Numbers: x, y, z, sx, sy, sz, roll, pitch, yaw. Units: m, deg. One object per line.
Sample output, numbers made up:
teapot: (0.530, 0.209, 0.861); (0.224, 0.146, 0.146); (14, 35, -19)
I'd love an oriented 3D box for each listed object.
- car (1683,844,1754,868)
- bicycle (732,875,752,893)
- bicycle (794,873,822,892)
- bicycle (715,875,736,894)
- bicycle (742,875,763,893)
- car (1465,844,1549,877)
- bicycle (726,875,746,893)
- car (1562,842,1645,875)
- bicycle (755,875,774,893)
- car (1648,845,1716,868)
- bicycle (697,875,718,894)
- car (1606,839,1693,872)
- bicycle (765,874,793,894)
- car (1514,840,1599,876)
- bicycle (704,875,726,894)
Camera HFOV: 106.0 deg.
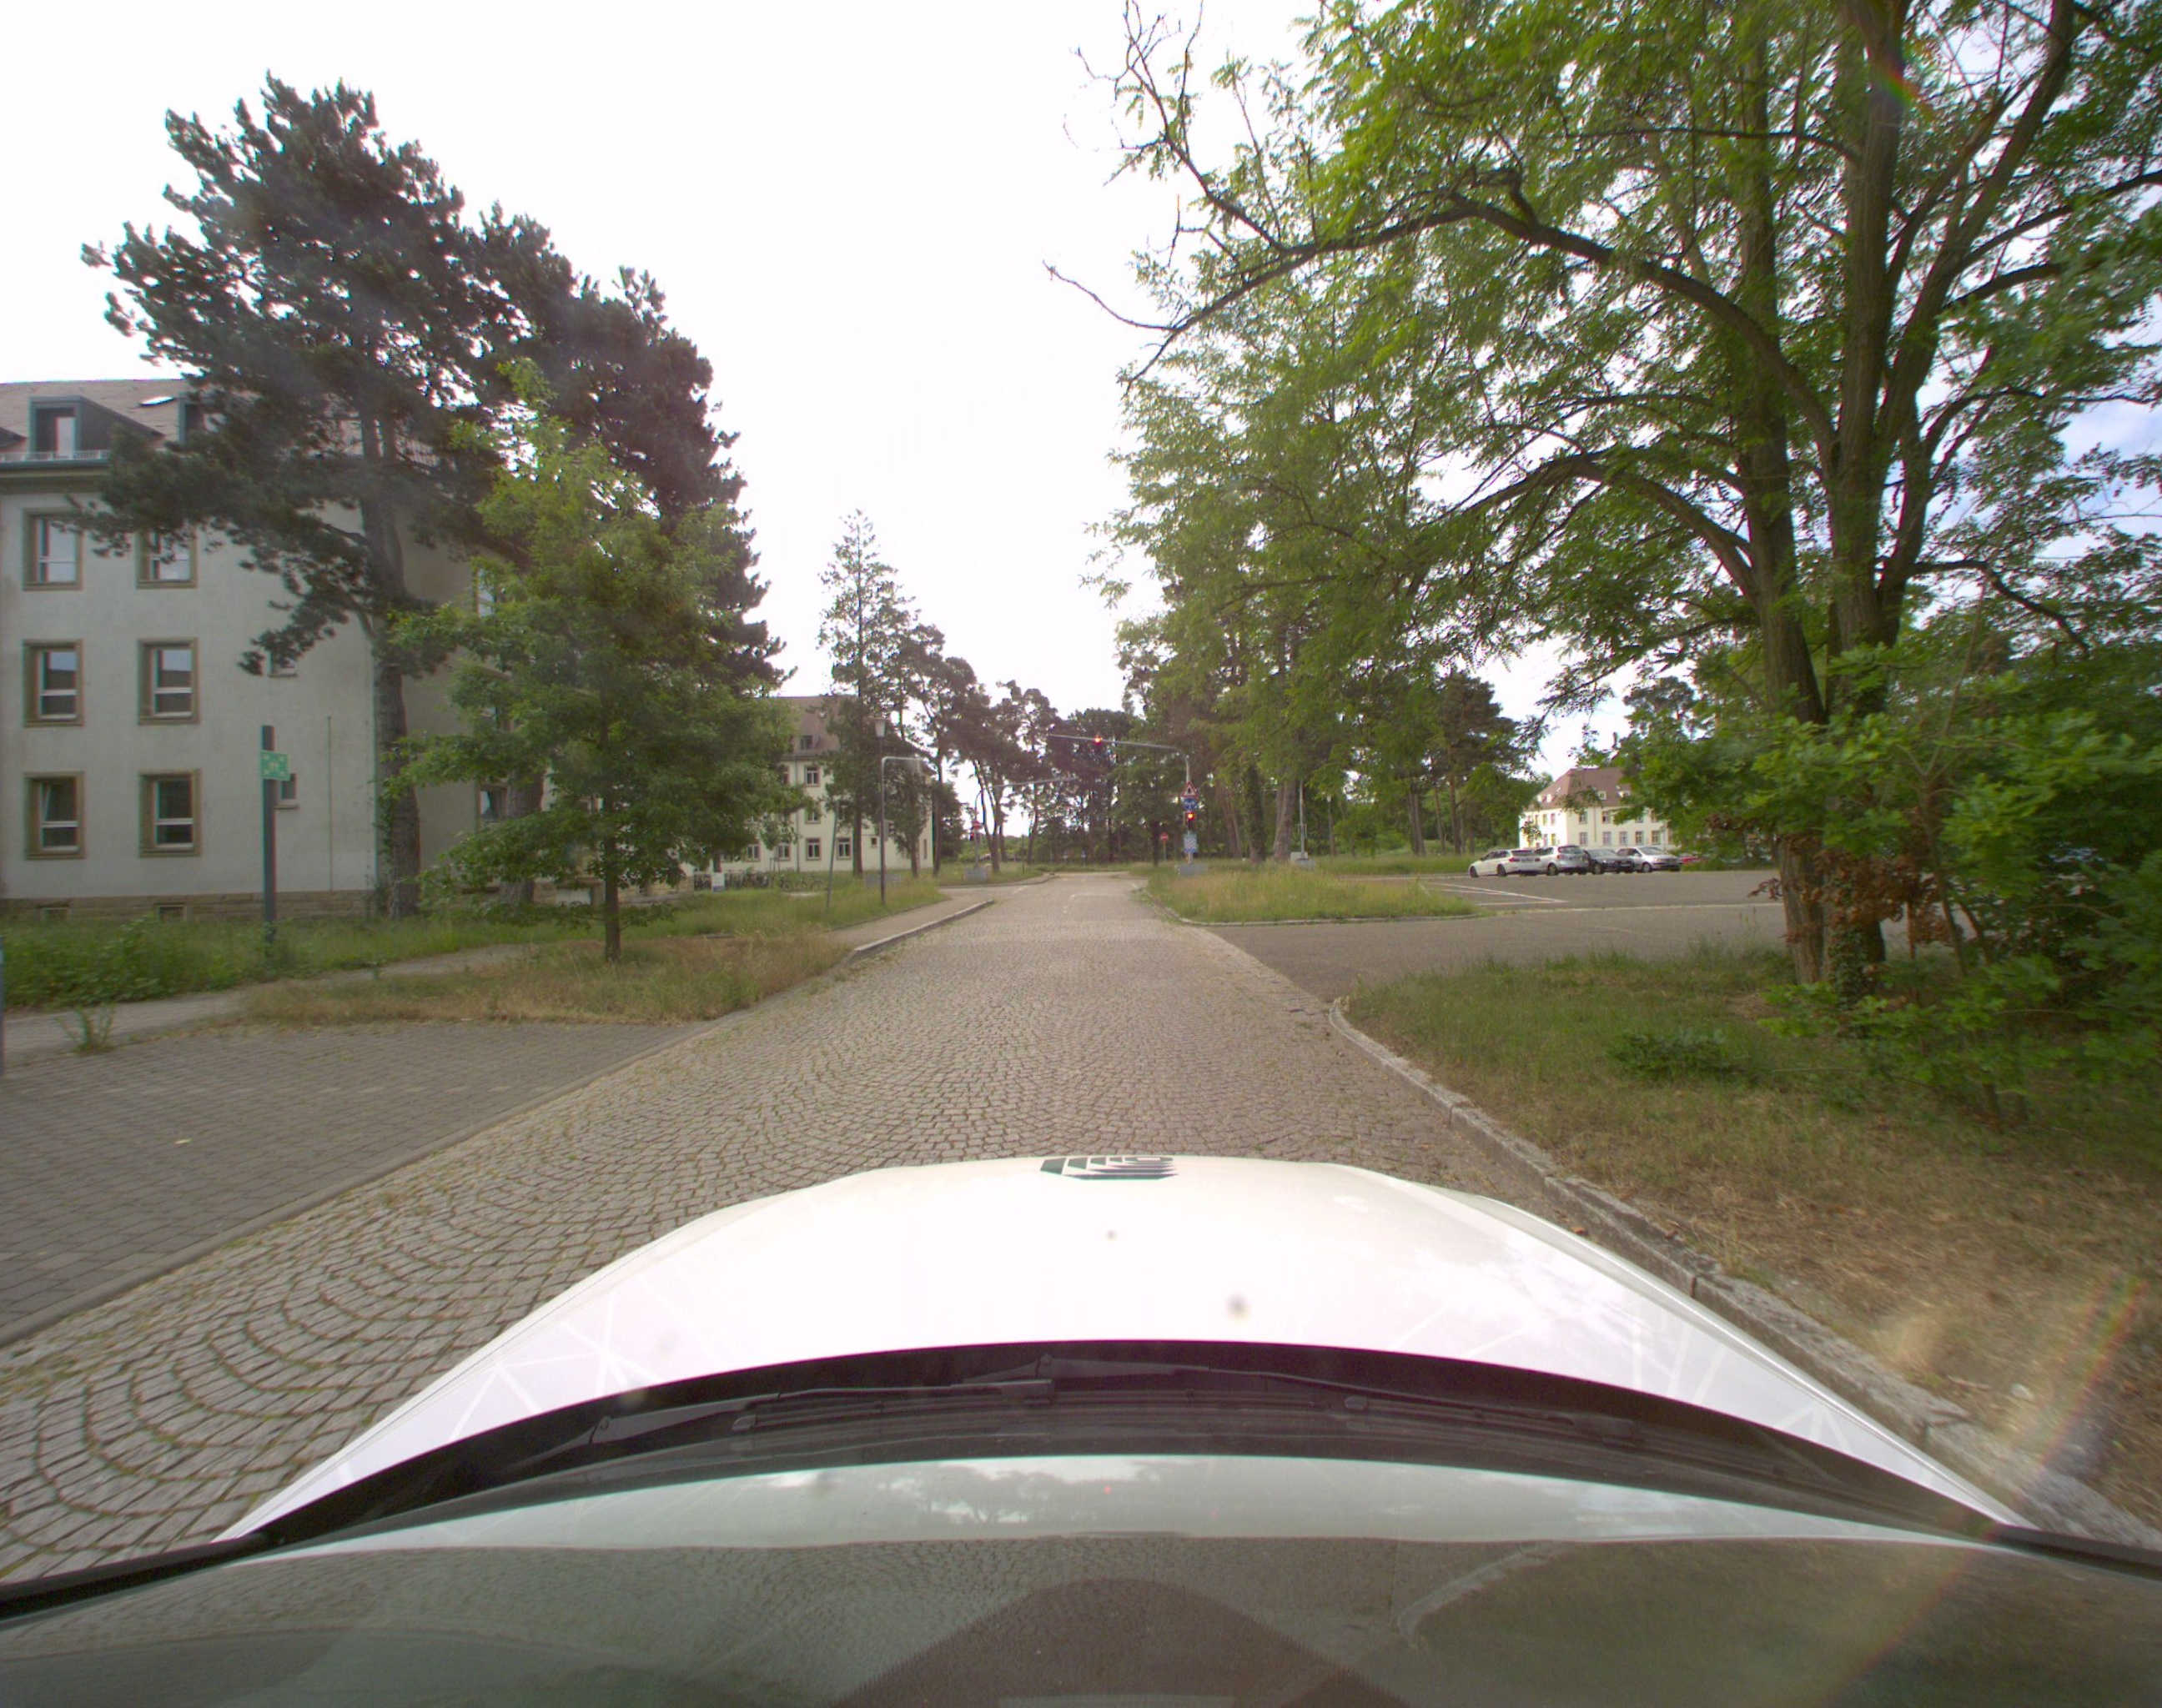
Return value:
car: (41.914, 0.116, 53.663); (1.725, 1.472, 4.251); (-1, 0, 6)
bicycle: (-20.675, 1.825, 49.685); (0.512, 1.079, 1.586); (-2, -1, 1)
bicycle: (-16.258, 1.705, 48.471); (1.460, 1.065, 0.516); (-2, -1, -2)
bicycle: (-21.667, 1.834, 49.641); (0.512, 1.079, 1.586); (-2, -1, 1)
bicycle: (-19.972, 1.824, 49.593); (0.512, 1.079, 1.587); (-2, -1, 4)
car: (21.940, 0.372, 42.172); (1.843, 1.487, 4.605); (0, -3, -2)
bicycle: (-21.036, 1.824, 49.689); (0.512, 1.079, 1.586); (-2, -1, 1)
car: (27.207, 0.266, 42.579); (1.694, 1.485, 4.245); (-2, -3, 2)
bicycle: (-19.294, 1.825, 49.682); (0.513, 1.079, 1.584); (-2, -1, -2)
car: (39.293, 0.175, 53.371); (1.725, 1.390, 4.251); (-1, 0, 6)
bicycle: (-22.740, 1.859, 49.611); (0.512, 1.079, 1.586); (-2, -1, 1)
car: (29.947, 0.139, 43.066); (1.694, 1.485, 4.245); (-2, -3, 2)
bicycle: (-17.895, 1.777, 48.301); (1.460, 1.079, 0.516); (-2, -1, -2)
car: (24.577, 0.245, 42.284); (1.777, 1.606, 4.239); (-2, -3, -2)
bicycle: (-22.289, 1.856, 49.619); (0.512, 1.079, 1.586); (-2, -1, 1)
